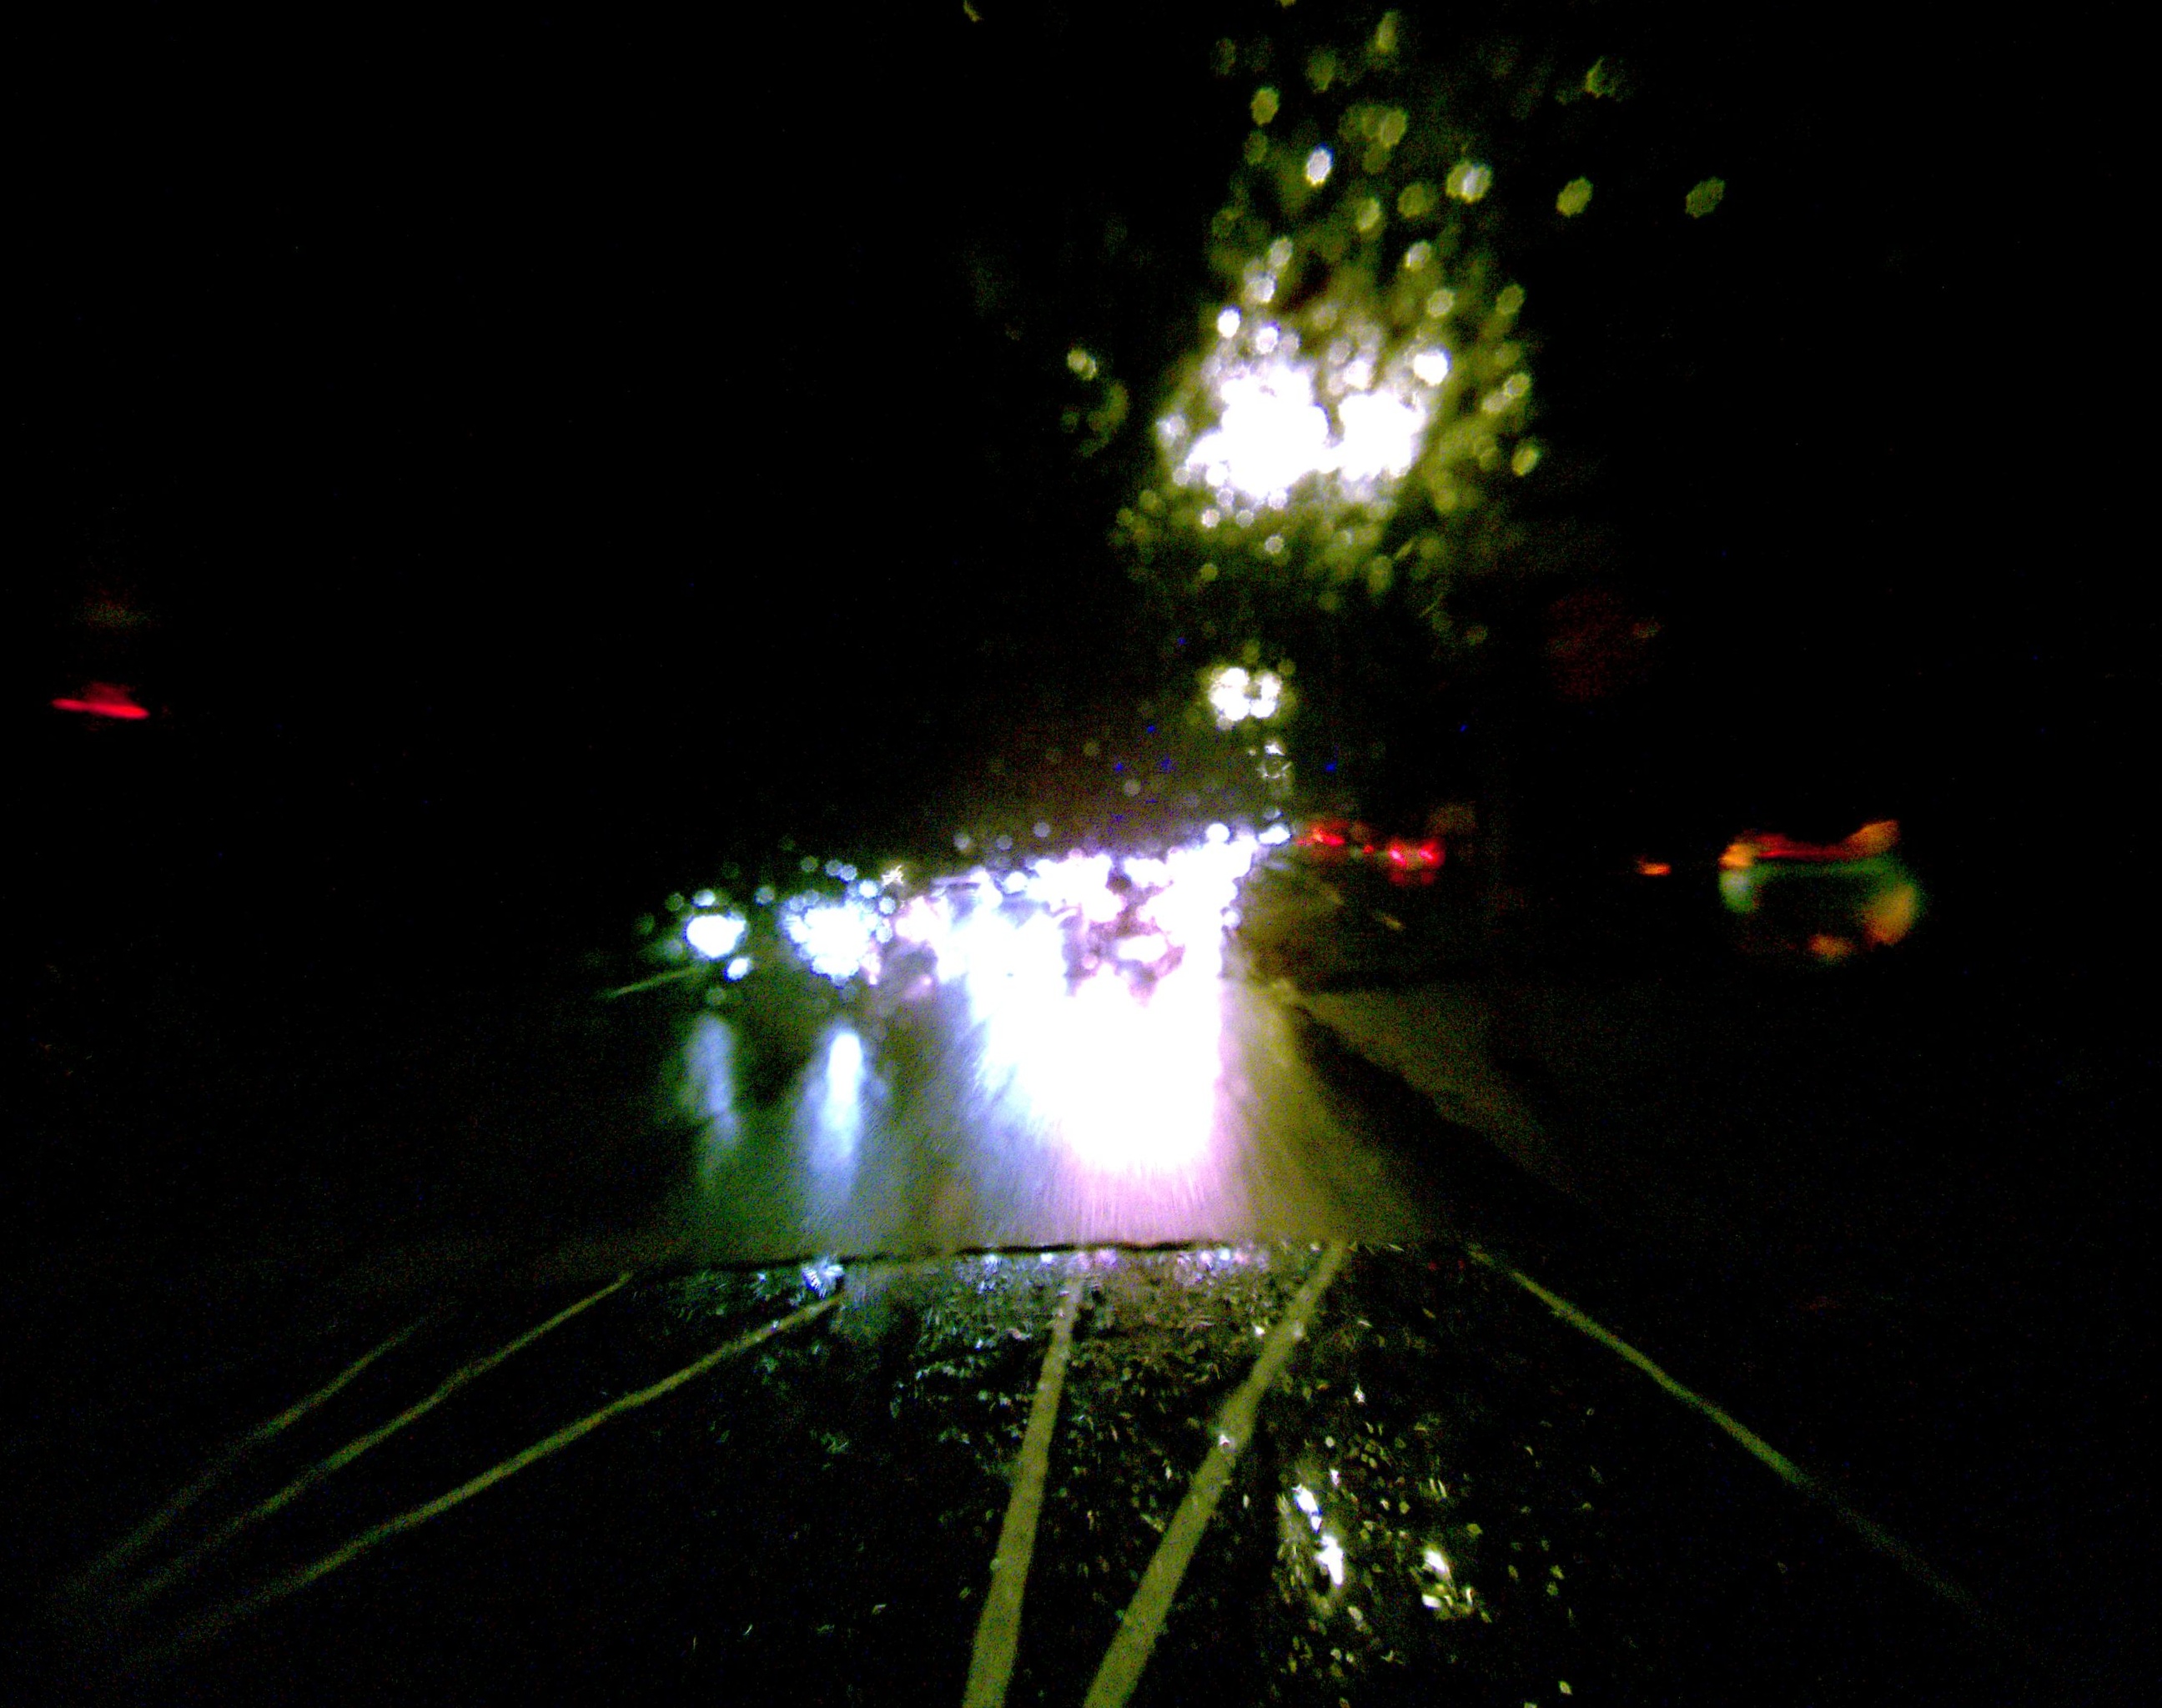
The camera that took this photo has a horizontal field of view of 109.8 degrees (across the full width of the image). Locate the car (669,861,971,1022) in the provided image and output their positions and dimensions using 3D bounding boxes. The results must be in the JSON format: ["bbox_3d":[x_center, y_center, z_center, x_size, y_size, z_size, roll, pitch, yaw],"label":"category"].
[{"bbox_3d":[-3.010,0.932,9.995,1.676,1.497,4.563,-3,0,10],"label":"car"}]

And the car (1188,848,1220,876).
[{"bbox_3d":[7.488,0.456,46.064,1.604,1.417,3.391,-5,1,13],"label":"car"}]

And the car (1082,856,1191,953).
[{"bbox_3d":[1.099,0.800,13.432,1.496,1.416,3.392,-3,0,11],"label":"car"}]

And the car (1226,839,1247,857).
[{"bbox_3d":[16.602,-0.673,81.011,1.966,1.784,4.002,-3,2,12],"label":"car"}]

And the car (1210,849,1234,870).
[{"bbox_3d":[11.130,0.399,59.995,1.604,1.417,3.391,-5,1,13],"label":"car"}]

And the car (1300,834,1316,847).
[{"bbox_3d":[30.838,-1.825,103.384,1.851,1.562,3.510,-2,0,13],"label":"car"}]

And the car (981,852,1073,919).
[{"bbox_3d":[-1.401,0.819,21.659,1.710,1.513,4.415,-3,2,7],"label":"car"}]

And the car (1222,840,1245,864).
[{"bbox_3d":[14.474,-0.206,72.296,1.997,2.002,4.001,-3,2,9],"label":"car"}]

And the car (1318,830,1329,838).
[{"bbox_3d":[45.095,-3.671,141.322,1.714,1.415,4.672,0,2,16],"label":"car"}]

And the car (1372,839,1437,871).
[{"bbox_3d":[15.783,0.042,37.326,1.793,1.448,4.580,0,0,8],"label":"car"}]

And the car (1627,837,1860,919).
[{"bbox_3d":[12.878,0.418,15.077,1.569,1.424,3.494,0,0,-1],"label":"car"}]

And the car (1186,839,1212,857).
[{"bbox_3d":[11.586,-0.644,74.387,1.996,1.589,4.395,-1,2,14],"label":"car"}]

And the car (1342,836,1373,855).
[{"bbox_3d":[21.839,-0.705,60.079,1.737,1.487,3.943,0,2,11],"label":"car"}]

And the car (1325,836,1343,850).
[{"bbox_3d":[30.687,-1.301,92.245,1.777,1.584,4.564,-1,2,15],"label":"car"}]

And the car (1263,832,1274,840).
[{"bbox_3d":[40.976,-4.008,166.288,1.996,1.670,4.004,-3,2,17],"label":"car"}]

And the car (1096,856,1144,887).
[{"bbox_3d":[2.214,0.940,42.361,1.741,1.410,4.143,-3,2,15],"label":"car"}]

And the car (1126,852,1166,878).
[{"bbox_3d":[4.517,0.724,51.998,1.996,1.589,4.396,-3,0,14],"label":"car"}]

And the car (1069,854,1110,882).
[{"bbox_3d":[0.589,0.845,47.266,1.741,1.410,4.142,-3,2,11],"label":"car"}]

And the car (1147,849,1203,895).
[{"bbox_3d":[3.653,0.648,29.143,1.604,1.417,3.392,-4,1,14],"label":"car"}]
